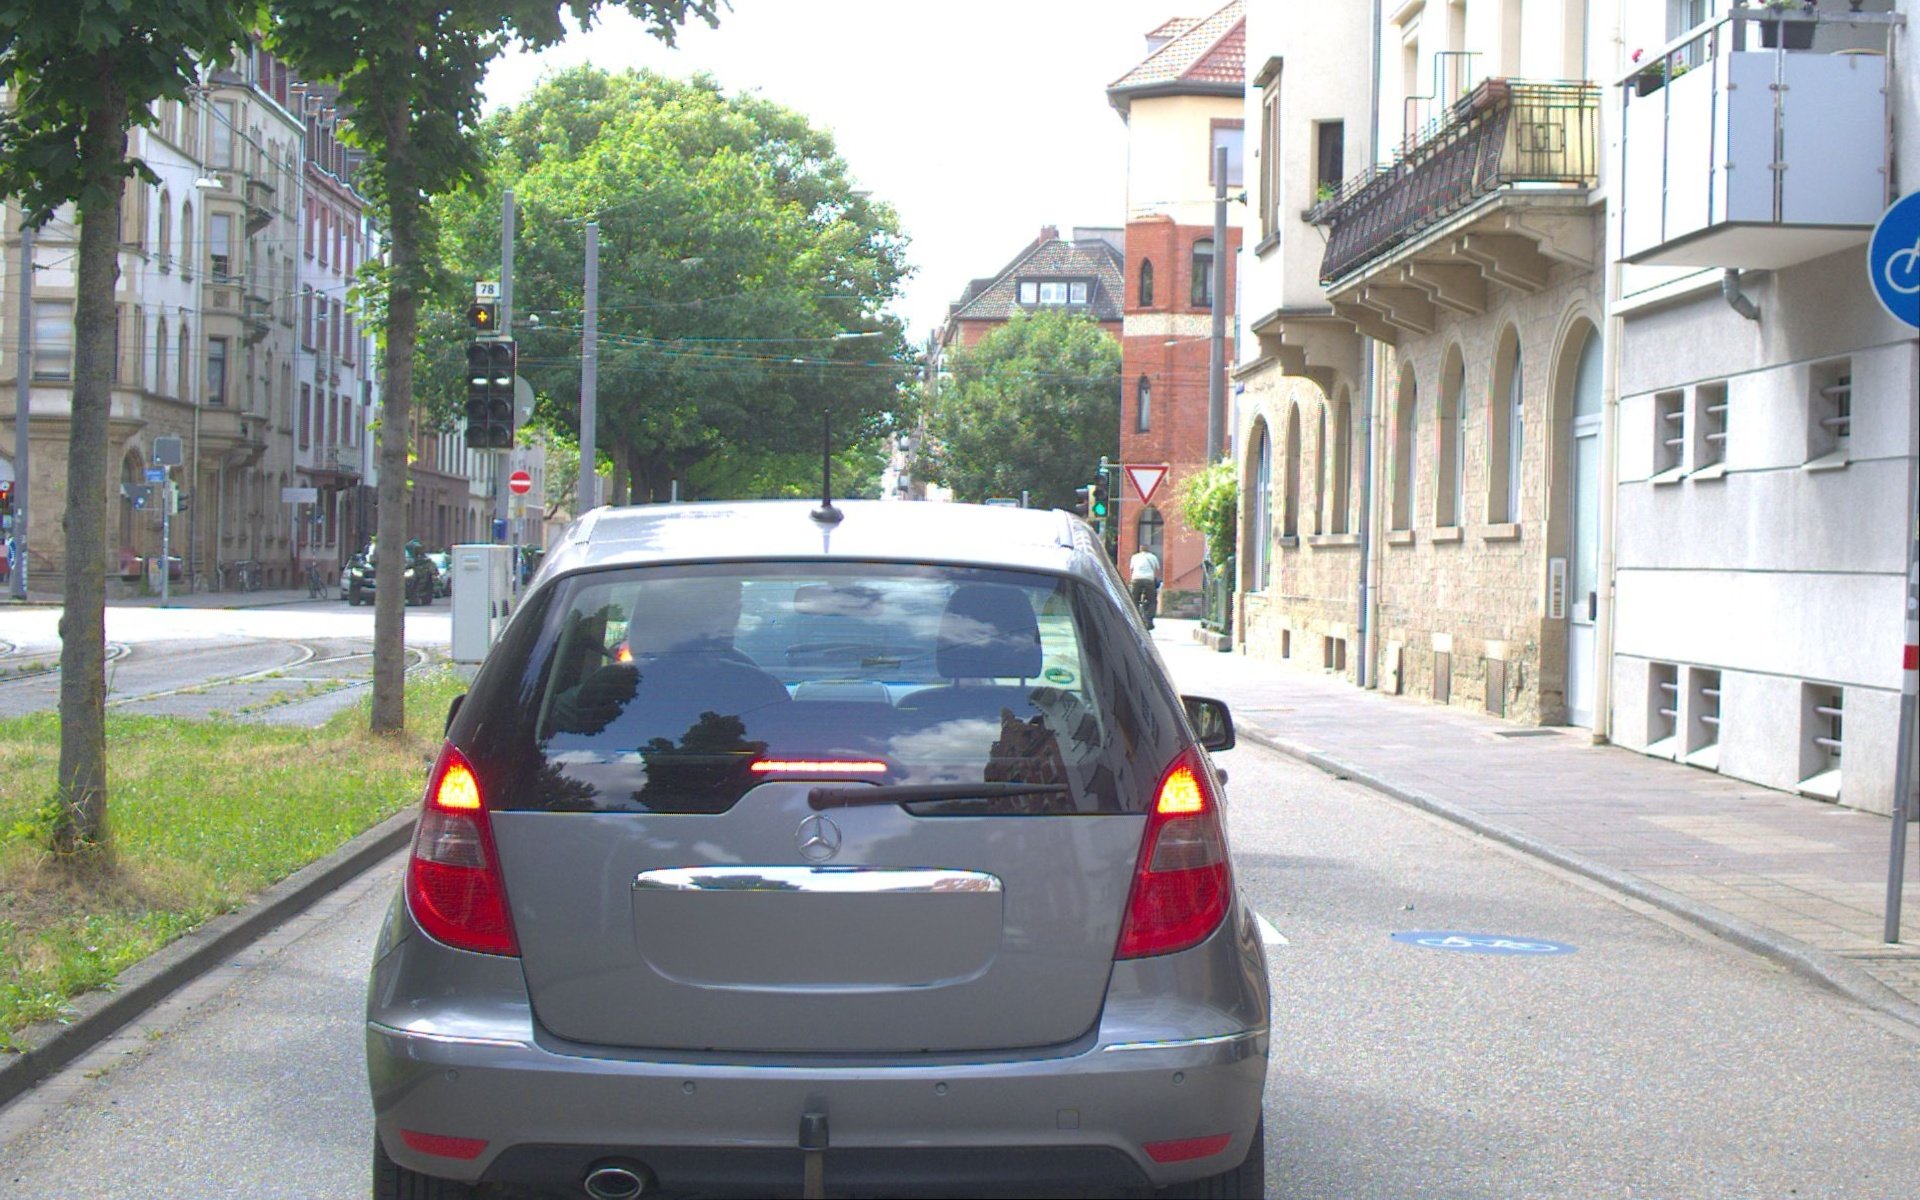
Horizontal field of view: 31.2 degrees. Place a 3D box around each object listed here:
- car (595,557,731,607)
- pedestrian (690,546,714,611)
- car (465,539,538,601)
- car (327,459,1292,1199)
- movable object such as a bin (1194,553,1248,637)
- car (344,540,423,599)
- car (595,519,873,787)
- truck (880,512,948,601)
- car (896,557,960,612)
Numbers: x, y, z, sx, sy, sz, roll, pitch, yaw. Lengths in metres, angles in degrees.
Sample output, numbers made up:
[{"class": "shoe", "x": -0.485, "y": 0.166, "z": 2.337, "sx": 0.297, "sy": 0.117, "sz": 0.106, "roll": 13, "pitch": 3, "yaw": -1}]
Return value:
[{"class": "car", "x": -8.643, "y": -0.536, "z": 99.818, "sx": 1.969, "sy": 1.334, "sz": 3.999, "roll": 1, "pitch": 1, "yaw": -41}, {"class": "pedestrian", "x": -6.901, "y": -0.569, "z": 92.064, "sx": 0.493, "sy": 1.719, "sz": 0.654, "roll": 1, "pitch": 0, "yaw": -13}, {"class": "car", "x": -13.114, "y": -0.854, "z": 98.458, "sx": 1.993, "sy": 1.722, "sz": 4.001, "roll": 1, "pitch": 1, "yaw": -7}, {"class": "car", "x": -0.295, "y": 0.540, "z": 8.036, "sx": 1.722, "sy": 1.600, "sz": 3.677, "roll": 1, "pitch": 1, "yaw": -1}, {"class": "movable object such as a bin", "x": 4.610, "y": -0.091, "z": 60.741, "sx": 0.714, "sy": 1.467, "sz": 0.983, "roll": 1, "pitch": 0, "yaw": -10}, {"class": "car", "x": -16.234, "y": -0.864, "z": 96.914, "sx": 1.993, "sy": 1.612, "sz": 4.001, "roll": 1, "pitch": 1, "yaw": -7}, {"class": "car", "x": -1.503, "y": 0.323, "z": 23.979, "sx": 1.722, "sy": 1.700, "sz": 3.677, "roll": 1, "pitch": 1, "yaw": -1}, {"class": "truck", "x": -1.563, "y": -1.491, "z": 118.169, "sx": 2.123, "sy": 2.960, "sz": 4.000, "roll": 1, "pitch": 0, "yaw": 2}, {"class": "car", "x": -0.952, "y": -0.481, "z": 105.225, "sx": 1.752, "sy": 1.627, "sz": 3.499, "roll": 2, "pitch": 1, "yaw": 2}]
